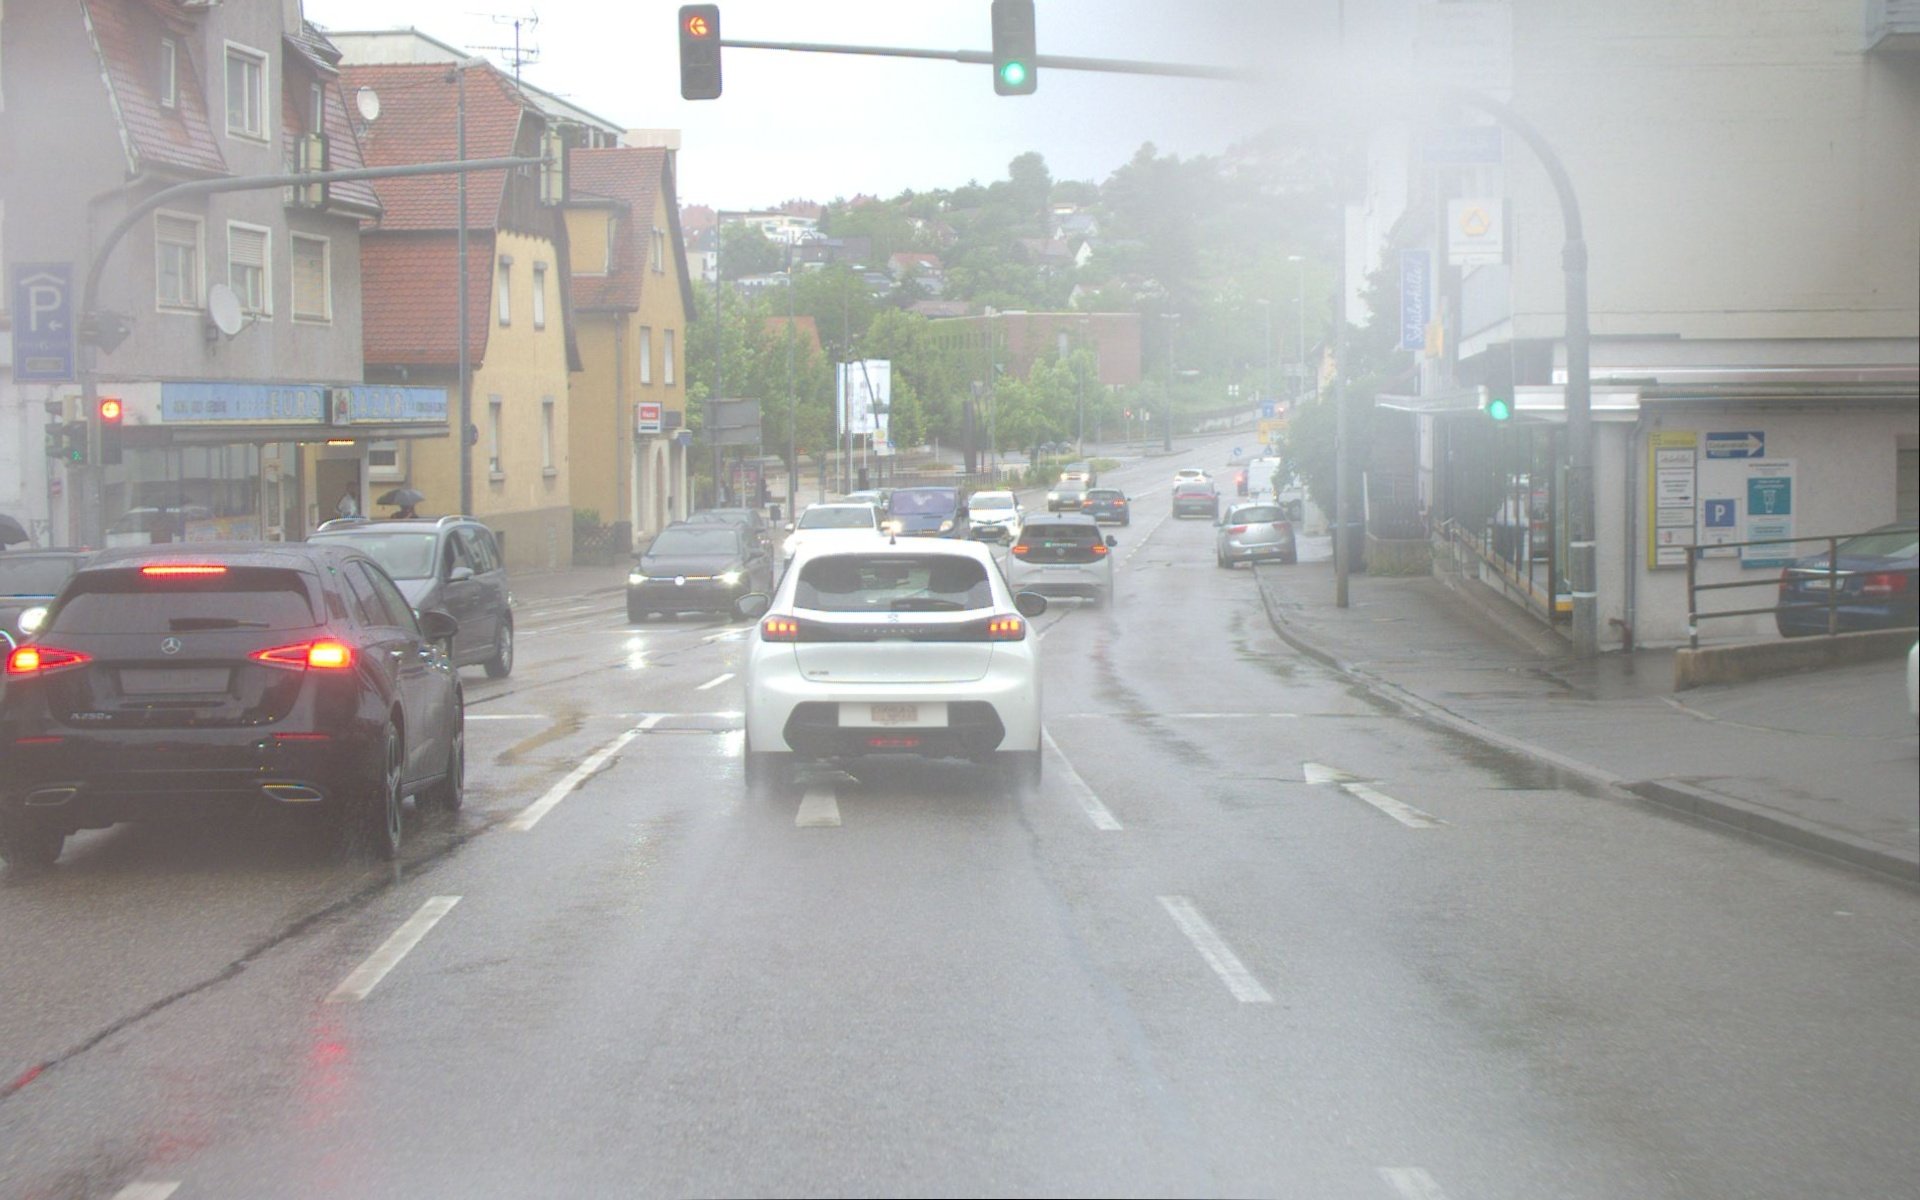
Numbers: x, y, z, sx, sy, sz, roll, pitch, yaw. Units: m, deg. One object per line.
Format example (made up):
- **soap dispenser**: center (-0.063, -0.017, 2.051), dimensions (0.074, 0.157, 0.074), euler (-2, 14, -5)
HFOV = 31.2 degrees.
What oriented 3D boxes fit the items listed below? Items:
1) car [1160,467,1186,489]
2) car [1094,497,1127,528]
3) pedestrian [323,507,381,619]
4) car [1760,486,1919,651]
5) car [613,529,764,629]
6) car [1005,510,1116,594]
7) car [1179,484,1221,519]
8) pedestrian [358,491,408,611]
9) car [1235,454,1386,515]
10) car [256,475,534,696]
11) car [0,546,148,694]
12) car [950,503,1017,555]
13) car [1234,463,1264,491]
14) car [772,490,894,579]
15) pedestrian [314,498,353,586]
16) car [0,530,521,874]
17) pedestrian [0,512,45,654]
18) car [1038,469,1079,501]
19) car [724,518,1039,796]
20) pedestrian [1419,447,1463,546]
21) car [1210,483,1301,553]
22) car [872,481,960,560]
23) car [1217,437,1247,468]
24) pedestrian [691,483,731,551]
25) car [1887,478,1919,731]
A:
- **car**: center (11.805, -6.753, 190.593), dimensions (1.385, 1.122, 2.610), euler (-1, 1, 5)
- **car**: center (5.695, -3.295, 130.195), dimensions (1.213, 1.152, 2.270), euler (-1, 1, 2)
- **pedestrian**: center (-7.651, -0.473, 43.276), dimensions (0.579, 1.390, 0.561), euler (-1, 1, 2)
- **car**: center (9.745, -0.370, 32.017), dimensions (4.385, 1.406, 1.737), euler (-3, 3, -28)
- **car**: center (-4.067, -0.350, 52.143), dimensions (1.758, 1.429, 4.380), euler (-1, 1, 2)
- **car**: center (1.655, -0.827, 57.478), dimensions (1.741, 1.291, 3.334), euler (-1, 2, 0)
- **car**: center (10.130, -4.154, 145.187), dimensions (1.734, 1.383, 3.352), euler (1, 3, 3)
- **pedestrian**: center (-9.325, -0.800, 55.608), dimensions (0.661, 1.914, 0.947), euler (2, 1, -3)
- **car**: center (14.141, -4.649, 138.463), dimensions (6.607, 2.374, 2.297), euler (-2, 1, -44)
- **car**: center (-5.462, -0.173, 33.744), dimensions (1.634, 2.007, 4.284), euler (-1, 1, 5)
- **car**: center (-9.208, 0.166, 33.263), dimensions (1.641, 1.333, 3.601), euler (-1, 1, 3)
- **car**: center (0.787, -2.300, 111.293), dimensions (1.878, 1.603, 4.718), euler (-1, 1, 4)
- **car**: center (16.173, -6.866, 192.526), dimensions (1.648, 1.480, 3.366), euler (-1, 1, 4)
- **car**: center (-2.533, -1.337, 69.908), dimensions (2.098, 1.706, 4.849), euler (-1, 1, 2)
- **pedestrian**: center (-11.065, -1.024, 60.723), dimensions (0.543, 1.552, 0.446), euler (-1, 1, 5)
- **car**: center (-3.339, 0.396, 16.777), dimensions (1.715, 1.445, 4.198), euler (-1, 1, 2)
- **pedestrian**: center (-12.340, -0.218, 43.835), dimensions (0.925, 1.782, 1.234), euler (-1, 1, 3)
- **car**: center (4.651, -5.391, 162.004), dimensions (1.768, 1.409, 4.525), euler (-1, 1, 4)
- **car**: center (-0.384, 0.280, 20.766), dimensions (1.691, 1.514, 3.933), euler (0, 1, 2)
- **pedestrian**: center (8.769, -1.896, 62.650), dimensions (0.729, 1.774, 0.952), euler (0, 3, 12)
- **car**: center (7.222, -2.003, 84.436), dimensions (2.011, 1.616, 4.360), euler (0, 0, 2)
- **car**: center (-1.105, -2.044, 88.564), dimensions (1.966, 1.931, 5.179), euler (-1, 1, 2)
- **car**: center (18.790, -10.188, 237.590), dimensions (1.994, 2.007, 4.000), euler (-1, 1, 5)
- **pedestrian**: center (-6.591, -2.194, 91.006), dimensions (0.801, 1.782, 0.881), euler (-1, 1, 14)
- **car**: center (6.867, 0.024, 18.838), dimensions (1.611, 1.457, 3.425), euler (-1, 1, -25)
